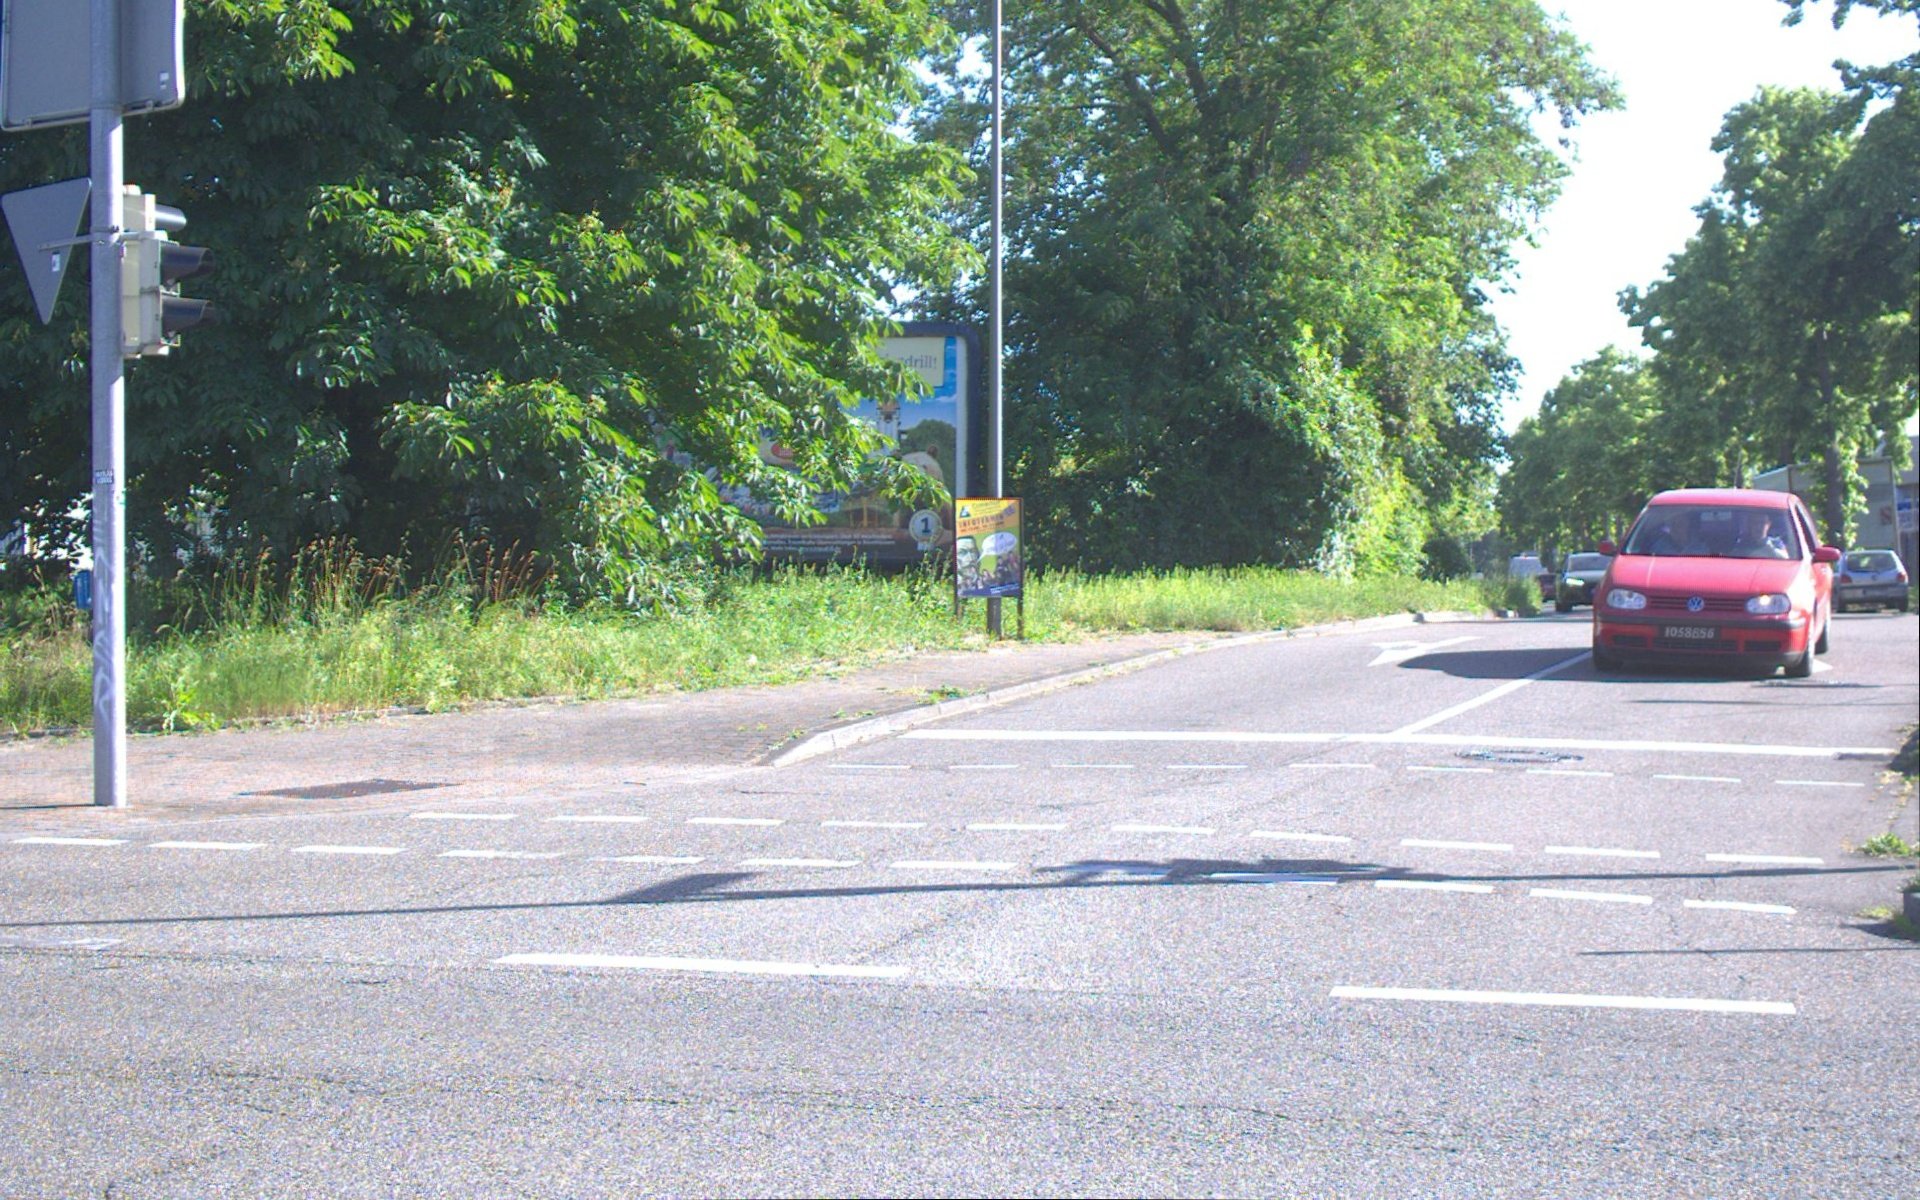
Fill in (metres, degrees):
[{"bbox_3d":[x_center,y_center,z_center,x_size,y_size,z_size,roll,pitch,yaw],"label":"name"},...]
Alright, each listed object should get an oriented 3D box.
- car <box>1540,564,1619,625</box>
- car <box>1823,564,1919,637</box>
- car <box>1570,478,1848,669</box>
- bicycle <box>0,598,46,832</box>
[{"bbox_3d":[15.332,-0.148,85.229,1.858,1.464,4.137,0,0,9],"label":"car"},{"bbox_3d":[20.690,-0.001,78.115,1.689,1.626,3.130,0,0,6],"label":"car"},{"bbox_3d":[6.313,-0.274,28.673,1.859,1.464,4.135,0,2,18],"label":"car"},{"bbox_3d":[-5.936,0.530,17.151,2.949,1.122,0.901,1,0,33],"label":"bicycle"}]
